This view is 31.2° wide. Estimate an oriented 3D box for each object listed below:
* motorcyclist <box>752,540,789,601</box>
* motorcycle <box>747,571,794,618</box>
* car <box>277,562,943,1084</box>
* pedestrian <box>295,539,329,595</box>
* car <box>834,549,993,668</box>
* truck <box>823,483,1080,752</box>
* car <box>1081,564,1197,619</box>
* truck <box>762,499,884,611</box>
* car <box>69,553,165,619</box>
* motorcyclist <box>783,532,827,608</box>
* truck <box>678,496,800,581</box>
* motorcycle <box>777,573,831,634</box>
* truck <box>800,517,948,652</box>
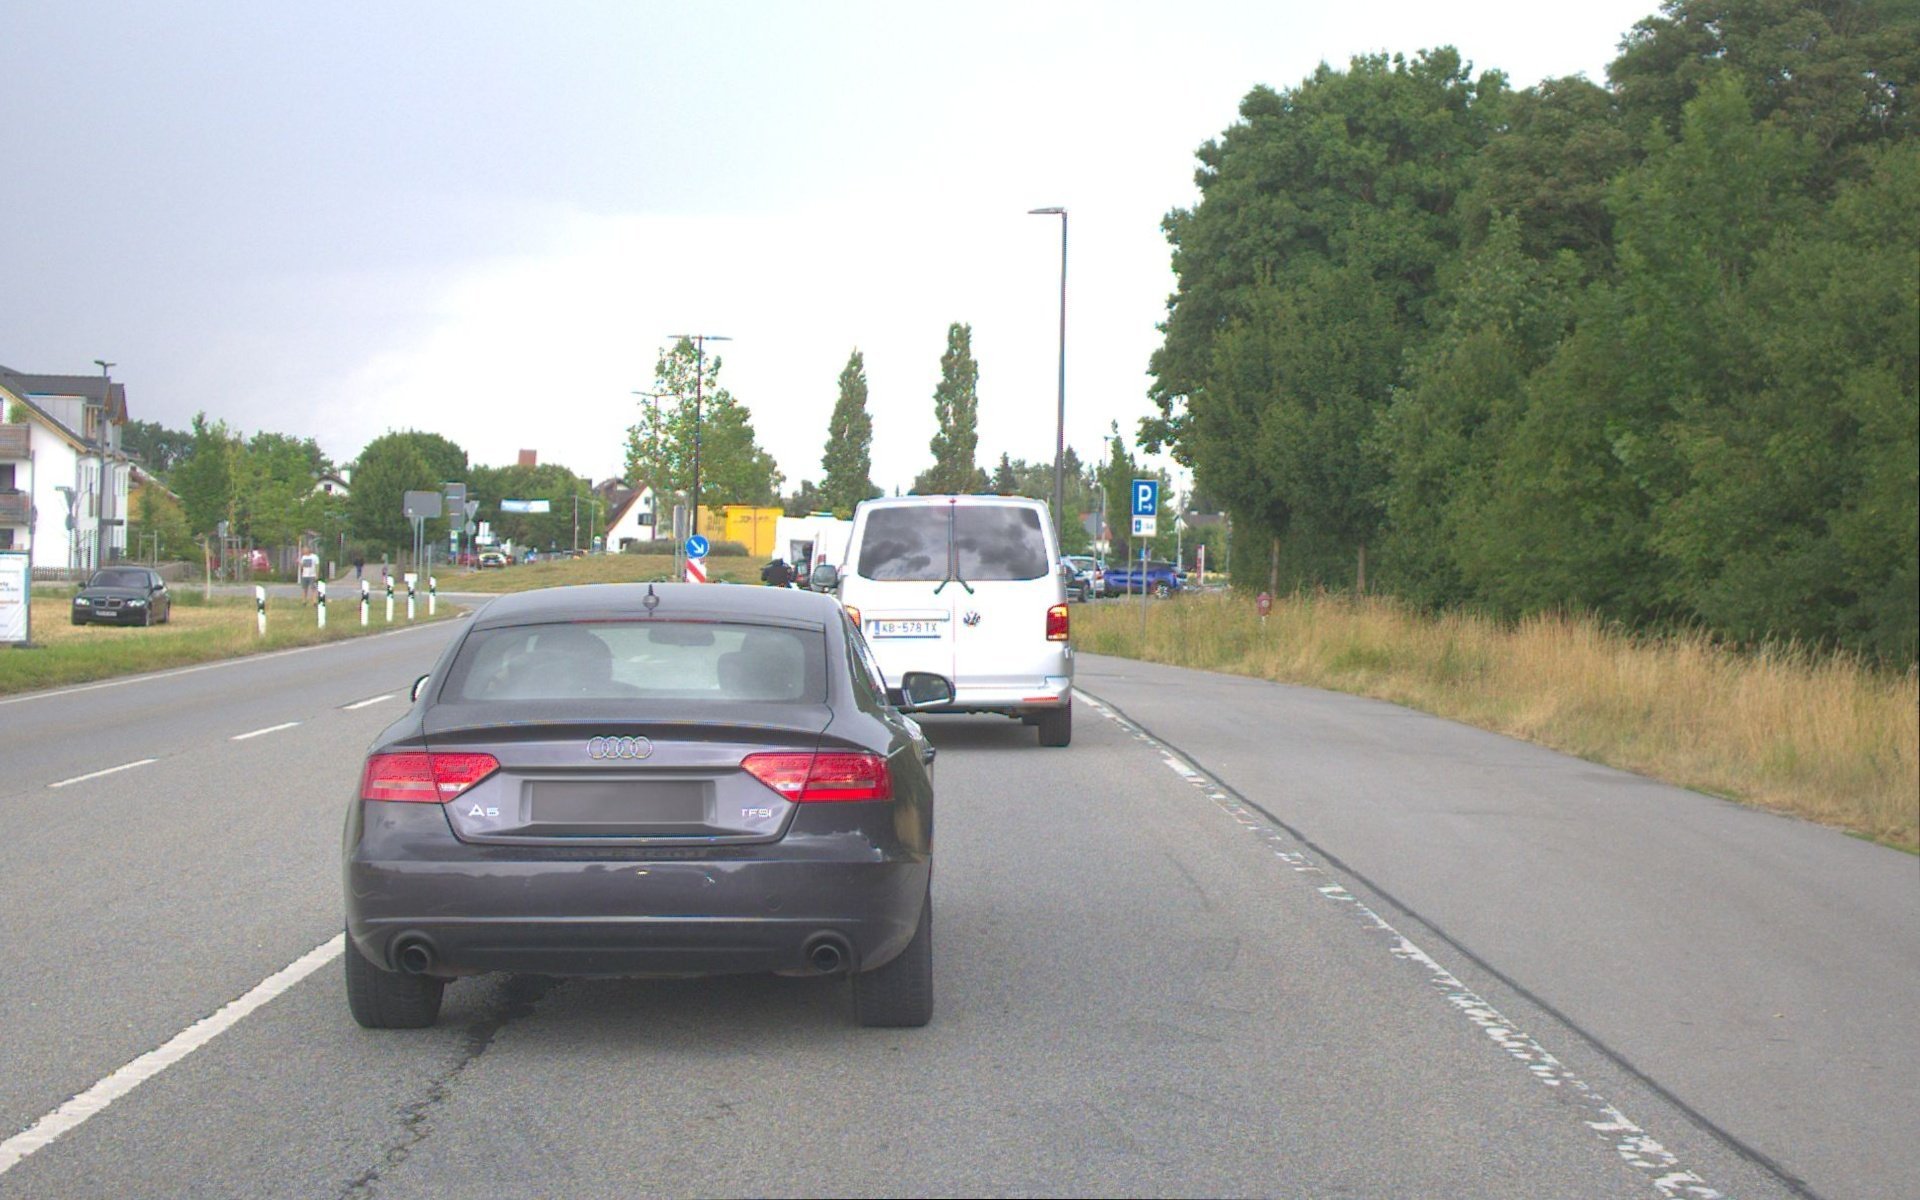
[{"bbox_3d":[-4.278,-0.662,77.730,0.785,1.352,0.854,1,1,-1],"label":"motorcyclist"},{"bbox_3d":[-4.271,-0.130,77.726,0.944,1.016,2.284,1,1,-1],"label":"motorcycle"},{"bbox_3d":[-1.006,0.609,11.808,1.875,1.449,4.177,0,1,0],"label":"car"},{"bbox_3d":[-18.457,-0.934,97.973,0.701,1.580,0.657,1,0,17],"label":"pedestrian"},{"bbox_3d":[-0.619,0.087,45.580,1.993,1.480,4.000,1,1,-1],"label":"car"},{"bbox_3d":[-0.063,0.098,28.210,1.904,1.991,4.628,1,1,0],"label":"truck"},{"bbox_3d":[6.862,-0.323,131.999,3.991,2.007,1.998,2,1,20],"label":"car"},{"bbox_3d":[-3.585,-1.163,88.808,2.626,2.728,5.868,2,1,-7],"label":"truck"},{"bbox_3d":[-19.886,-0.353,81.257,1.993,1.437,4.001,1,1,-11],"label":"car"},{"bbox_3d":[-2.889,-0.558,64.015,0.772,1.379,0.820,1,1,-1],"label":"motorcyclist"},{"bbox_3d":[-9.930,-2.786,153.226,3.575,3.566,9.960,1,1,-14],"label":"truck"},{"bbox_3d":[-2.892,0.053,64.012,0.920,1.090,2.189,1,1,-1],"label":"motorcycle"},{"bbox_3d":[-1.308,-0.265,54.470,2.193,2.007,5.085,1,1,0],"label":"truck"}]
